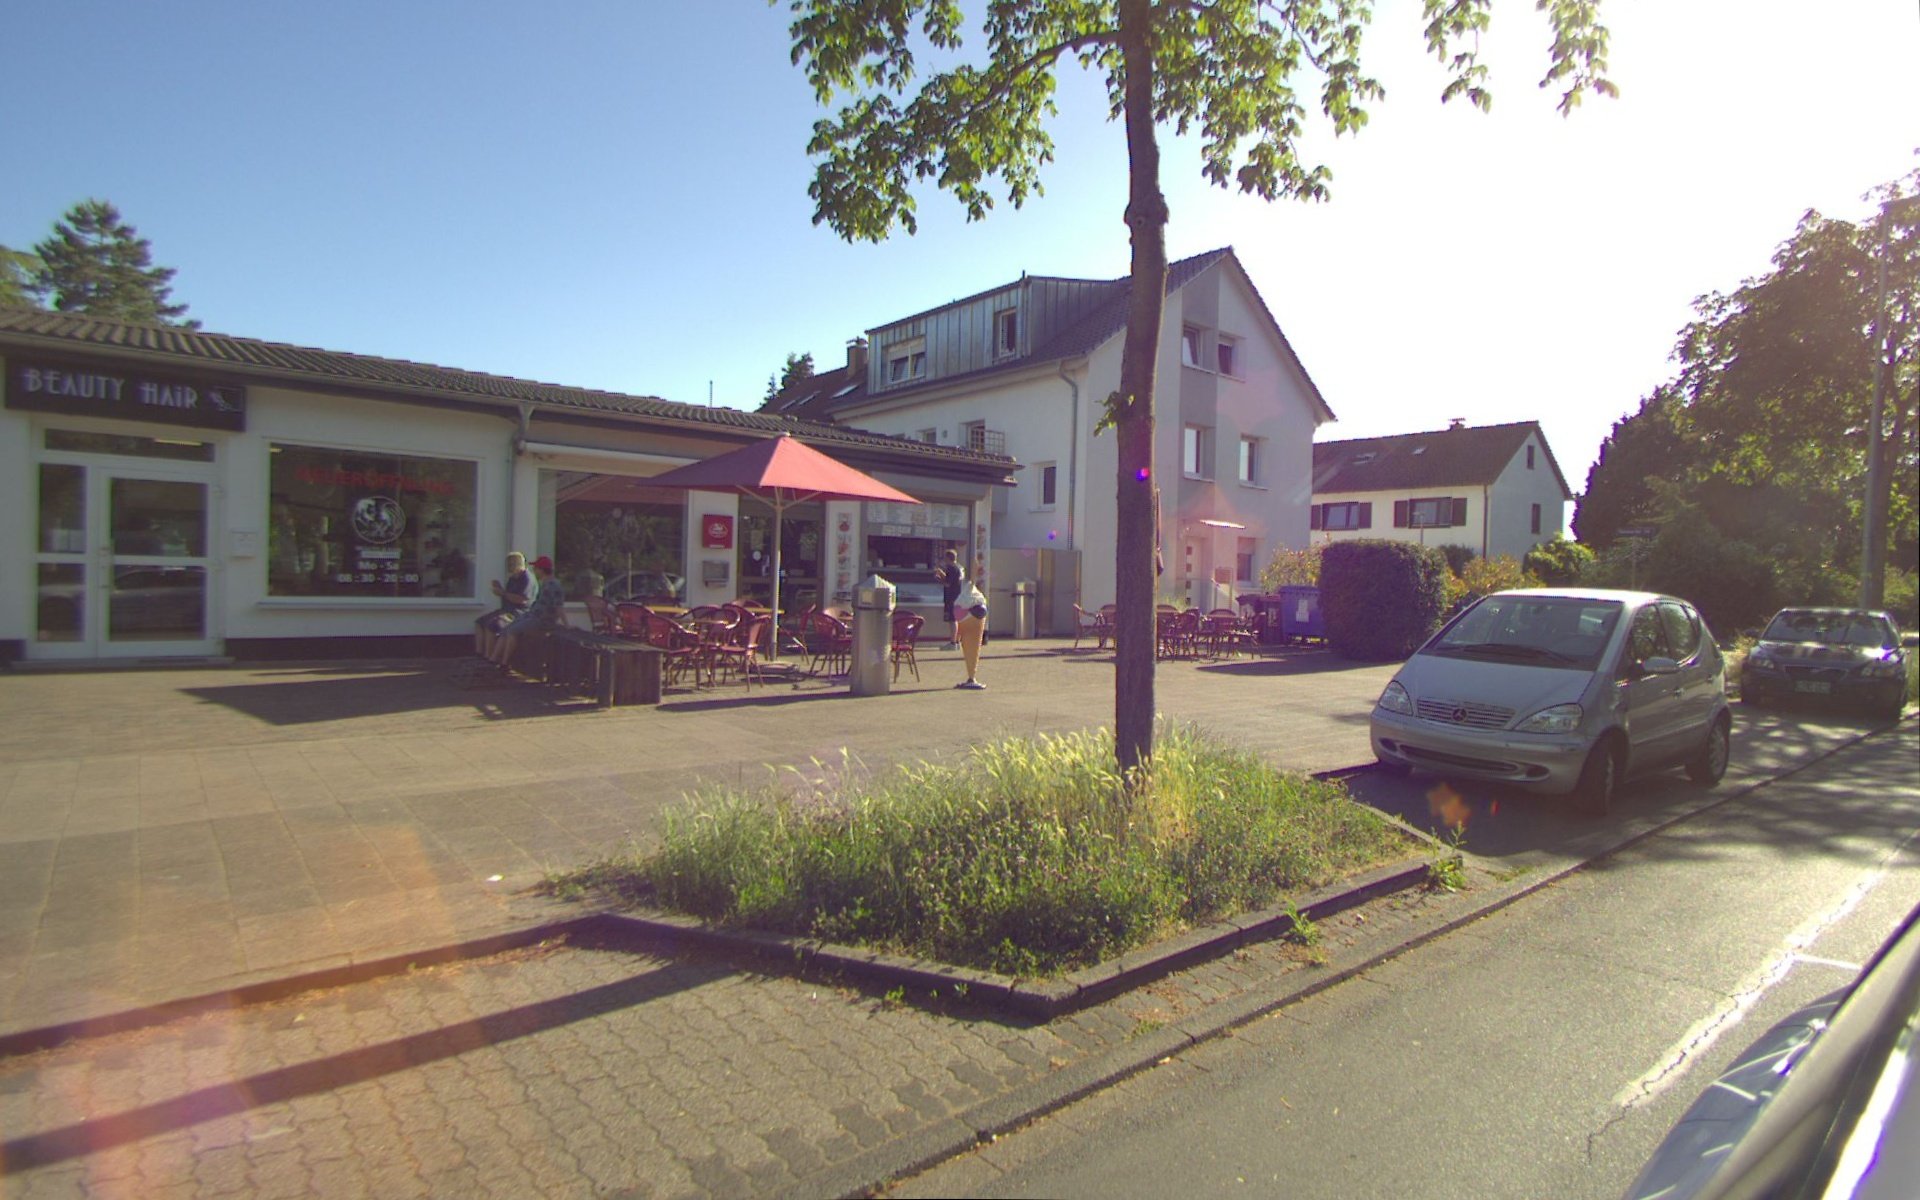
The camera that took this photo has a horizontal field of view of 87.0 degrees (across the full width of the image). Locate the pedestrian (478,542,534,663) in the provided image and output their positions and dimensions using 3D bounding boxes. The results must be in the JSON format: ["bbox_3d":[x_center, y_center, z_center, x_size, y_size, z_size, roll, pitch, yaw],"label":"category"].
[{"bbox_3d":[-5.526,0.019,12.333,0.483,1.426,0.666,1,2,-11],"label":"pedestrian"}]

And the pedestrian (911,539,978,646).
[{"bbox_3d":[-0.266,-0.141,17.593,0.820,1.800,0.828,1,0,39],"label":"pedestrian"}]

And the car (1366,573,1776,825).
[{"bbox_3d":[5.349,0.656,8.616,4.303,1.643,1.613,0,-2,-40],"label":"car"}]

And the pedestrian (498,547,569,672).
[{"bbox_3d":[-4.906,0.103,11.660,0.627,1.401,0.441,1,2,-2],"label":"pedestrian"}]

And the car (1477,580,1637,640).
[{"bbox_3d":[18.547,0.264,31.541,3.989,1.660,1.748,2,1,45],"label":"car"}]

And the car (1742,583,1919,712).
[{"bbox_3d":[13.153,0.623,14.983,1.993,1.643,4.312,-3,-2,44],"label":"car"}]
